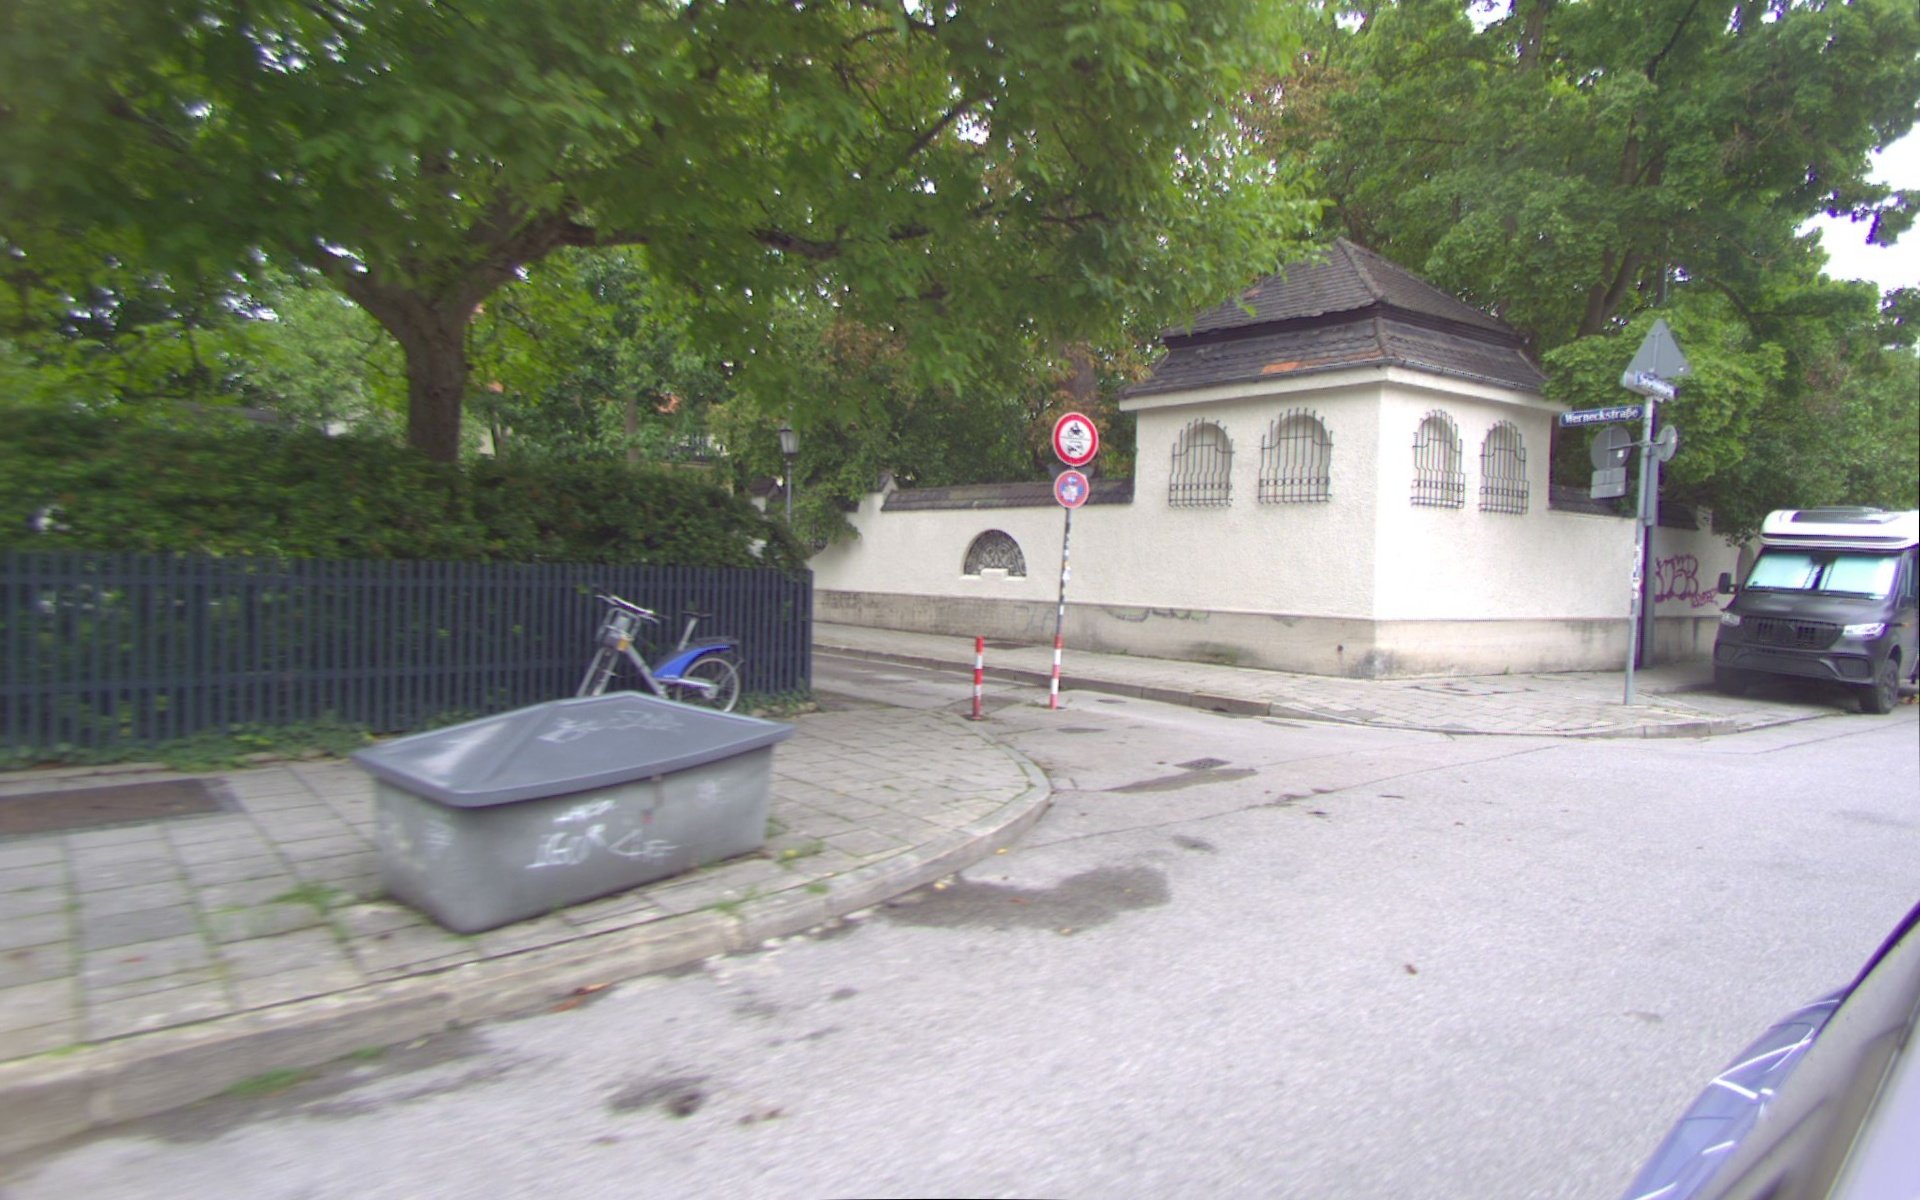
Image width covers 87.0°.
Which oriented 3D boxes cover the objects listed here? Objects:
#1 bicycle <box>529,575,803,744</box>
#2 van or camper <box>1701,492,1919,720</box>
[{"bbox_3d":[-2.311,0.427,8.133,1.940,1.176,0.807,1,2,-45],"label":"bicycle"},{"bbox_3d":[14.512,0.072,16.026,7.138,2.942,2.280,1,2,-36],"label":"van or camper"}]
